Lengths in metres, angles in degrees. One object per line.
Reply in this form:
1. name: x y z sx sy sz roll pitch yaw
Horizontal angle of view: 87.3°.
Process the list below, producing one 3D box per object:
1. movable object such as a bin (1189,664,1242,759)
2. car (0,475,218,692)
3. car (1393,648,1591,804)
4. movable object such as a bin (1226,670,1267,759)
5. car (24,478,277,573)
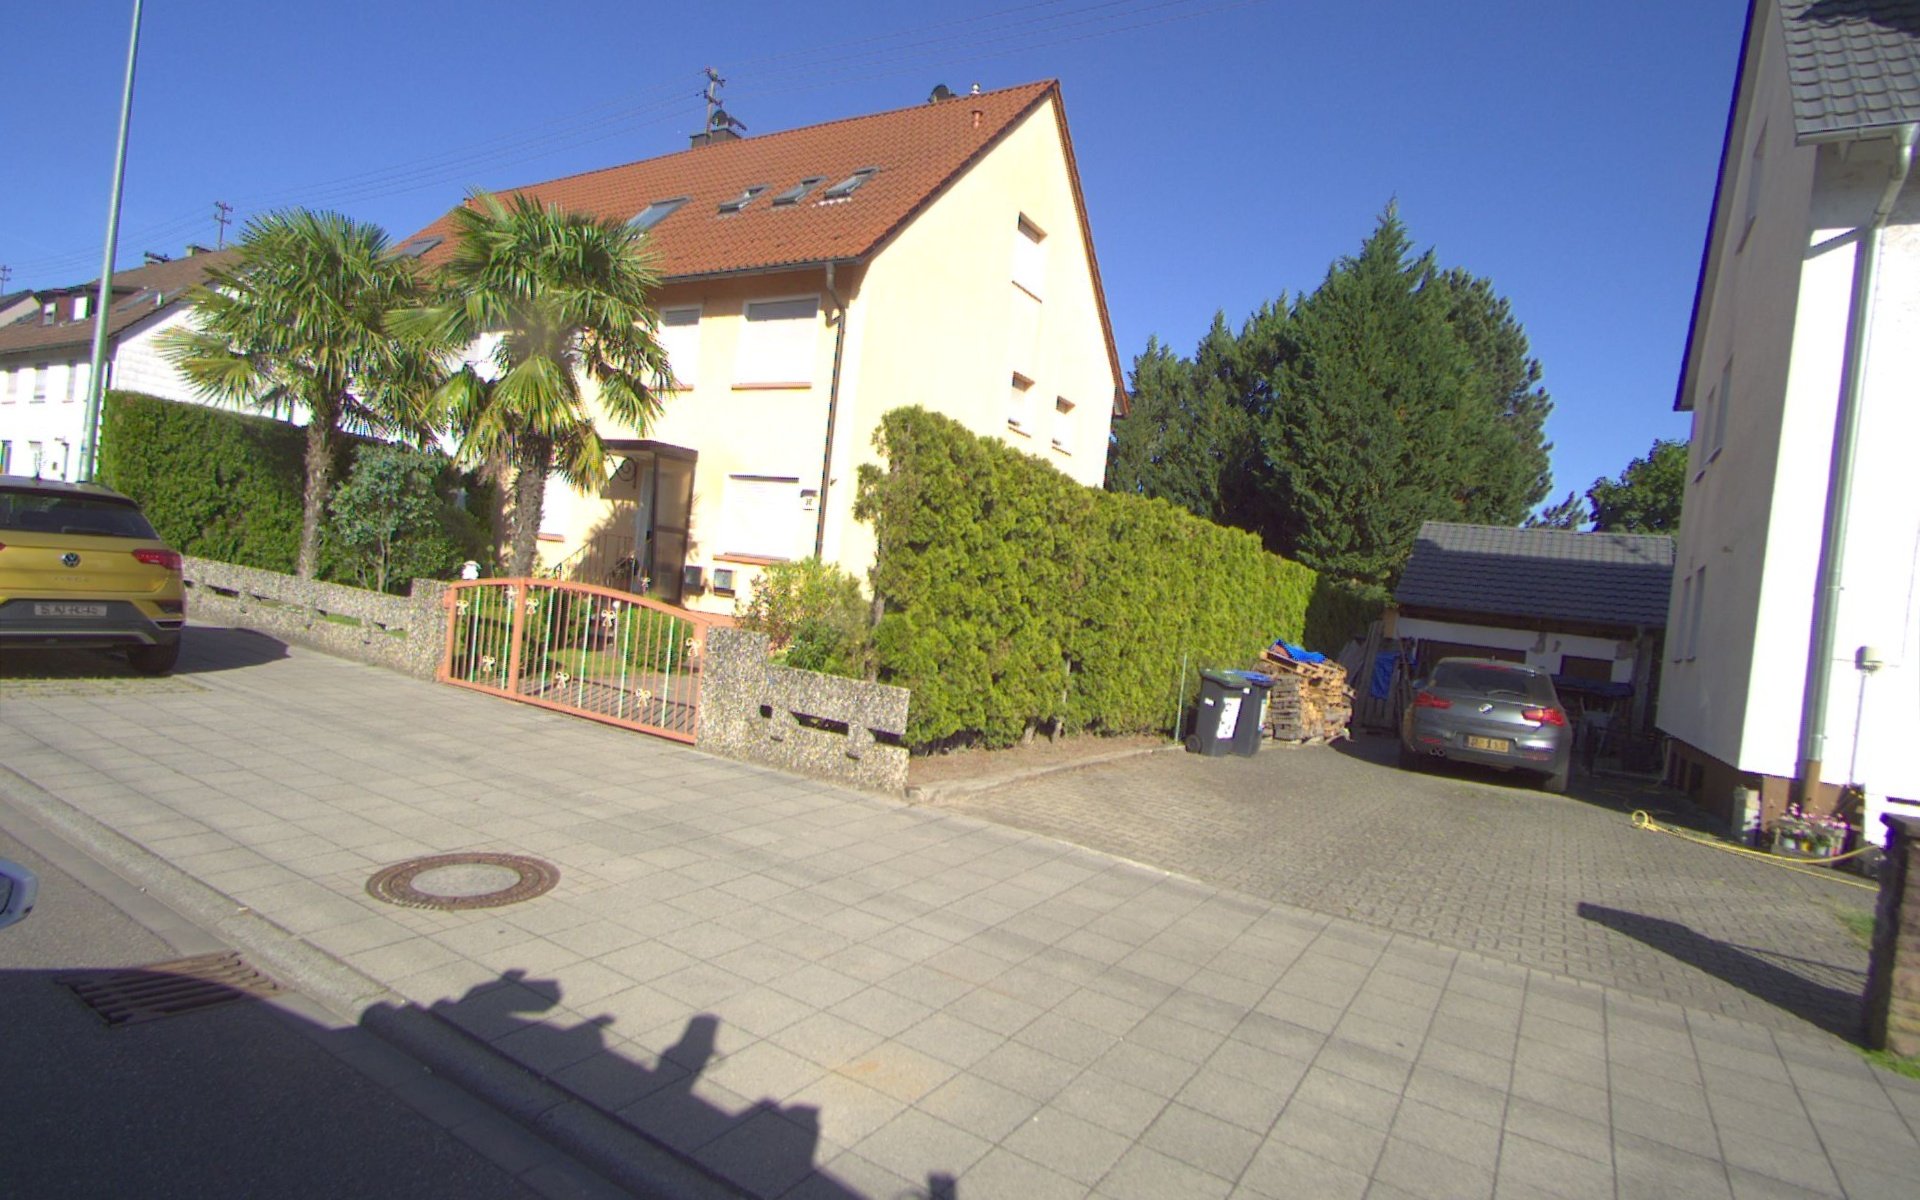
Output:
1. movable object such as a bin: 2.778 1.204 10.928 0.399 0.962 0.240 7 0 29
2. car: -8.759 -0.327 8.952 4.846 1.579 1.806 7 1 33
3. car: 6.703 1.486 12.739 1.783 1.438 3.890 7 -1 29
4. movable object such as a bin: 3.188 1.269 11.185 0.331 0.936 0.241 7 0 17
5. car: -20.329 -1.824 25.471 2.159 1.675 4.421 7 -1 30
